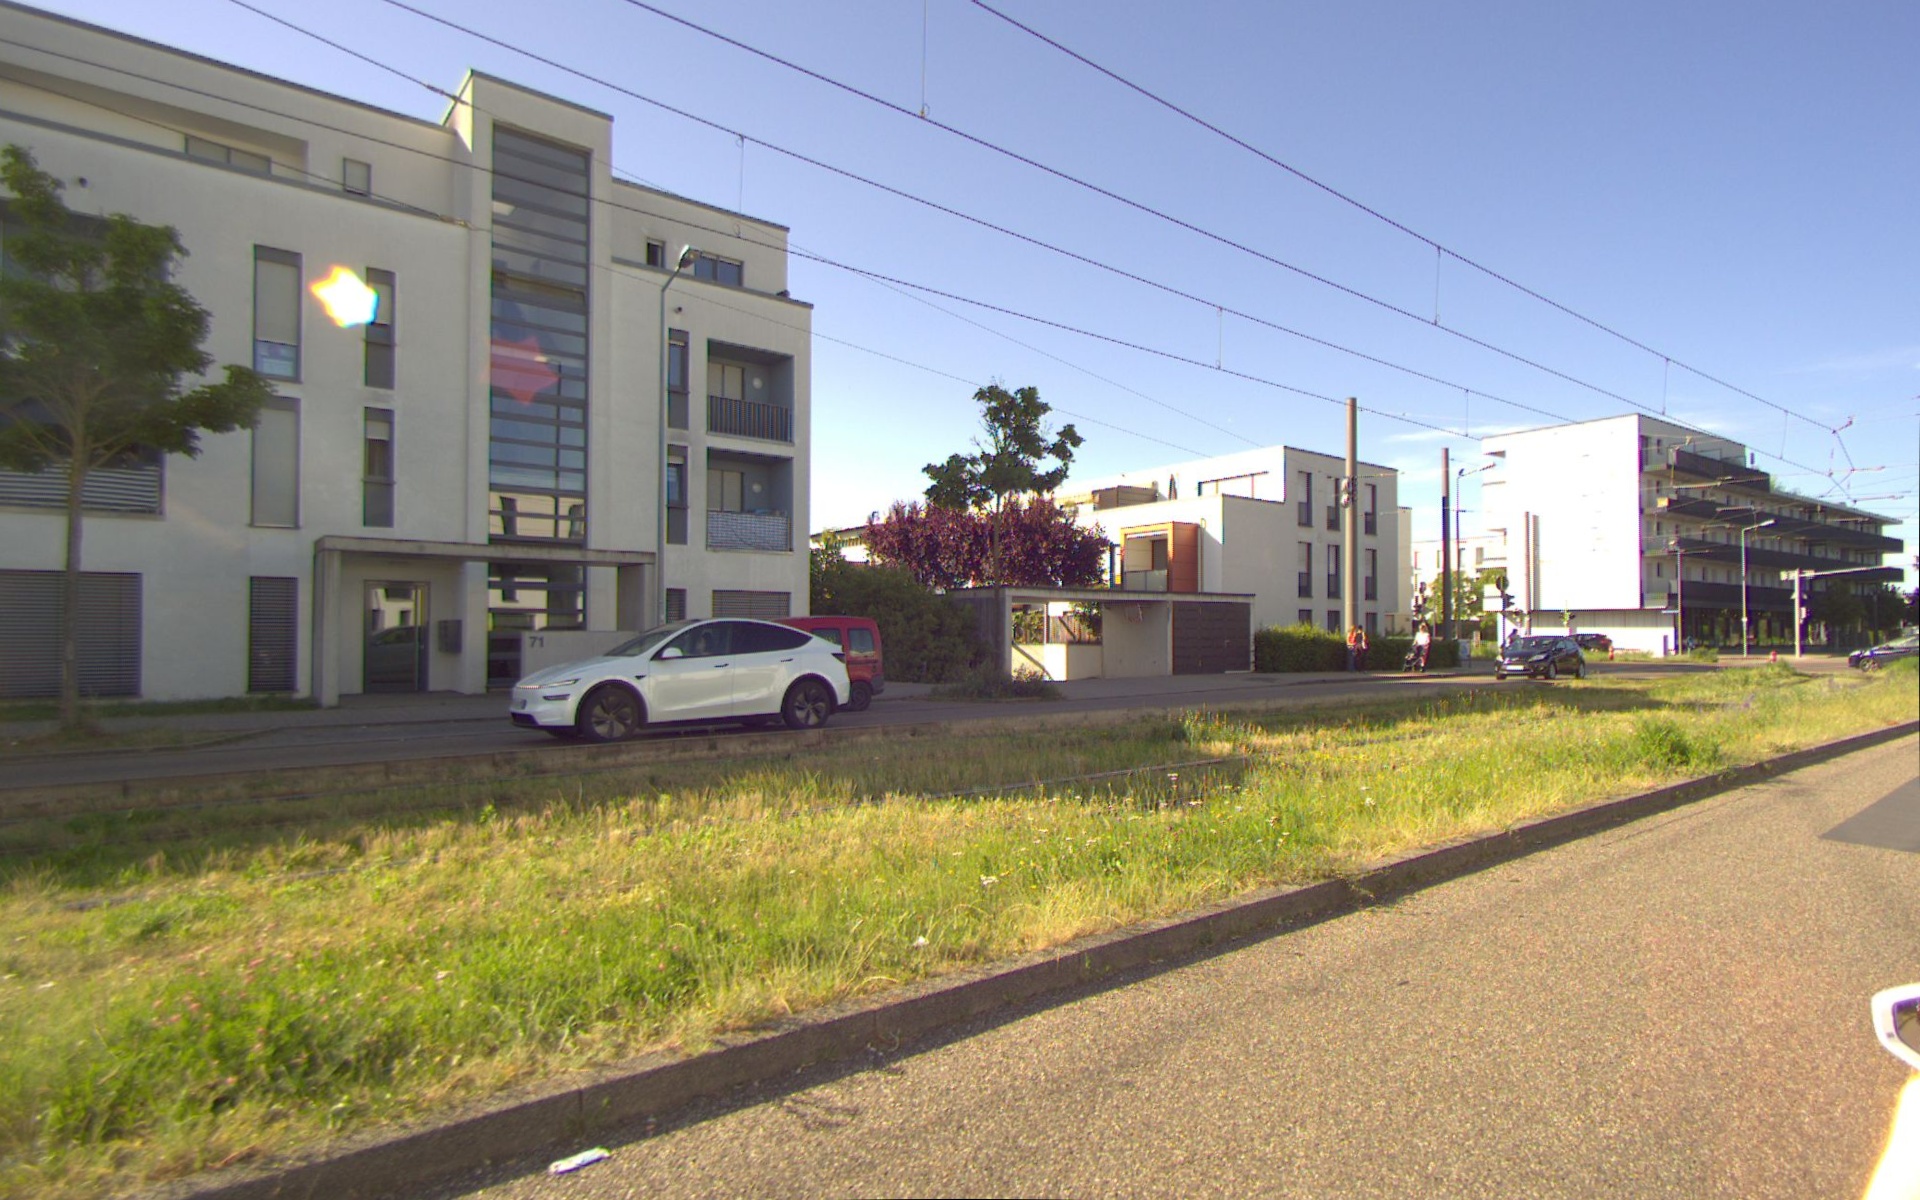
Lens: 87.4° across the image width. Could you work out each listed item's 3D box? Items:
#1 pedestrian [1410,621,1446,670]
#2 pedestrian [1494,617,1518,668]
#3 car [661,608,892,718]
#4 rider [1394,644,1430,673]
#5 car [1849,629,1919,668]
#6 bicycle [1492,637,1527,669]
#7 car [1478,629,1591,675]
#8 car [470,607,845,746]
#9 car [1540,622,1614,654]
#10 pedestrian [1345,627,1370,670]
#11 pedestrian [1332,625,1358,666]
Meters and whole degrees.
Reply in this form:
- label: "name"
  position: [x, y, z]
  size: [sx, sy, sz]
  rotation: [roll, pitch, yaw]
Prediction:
- label: "pedestrian"
  position: [17.443, 1.681, 37.422]
  size: [0.899, 1.771, 0.811]
  rotation: [1, 0, -31]
- label: "pedestrian"
  position: [22.732, 1.757, 41.806]
  size: [0.752, 2.040, 0.666]
  rotation: [2, 0, 39]
- label: "car"
  position: [-3.387, 1.100, 18.775]
  size: [3.802, 1.820, 1.867]
  rotation: [1, 0, -37]
- label: "rider"
  position: [16.604, 2.144, 36.898]
  size: [1.033, 1.016, 0.773]
  rotation: [1, 0, -32]
- label: "car"
  position: [35.802, 1.798, 37.488]
  size: [1.694, 1.449, 3.699]
  rotation: [1, -3, -39]
- label: "bicycle"
  position: [23.158, 2.222, 42.331]
  size: [0.784, 1.238, 2.690]
  rotation: [1, 0, 39]
- label: "car"
  position: [18.831, 1.674, 32.875]
  size: [3.963, 1.437, 1.775]
  rotation: [1, -3, -37]
- label: "car"
  position: [-4.074, 0.975, 13.955]
  size: [4.608, 1.617, 1.977]
  rotation: [1, -3, -40]
- label: "car"
  position: [40.682, 2.476, 66.361]
  size: [3.924, 2.040, 1.999]
  rotation: [-1, -2, 25]
- label: "pedestrian"
  position: [14.191, 1.725, 35.839]
  size: [0.606, 1.483, 0.553]
  rotation: [1, 0, -35]
- label: "pedestrian"
  position: [13.926, 1.639, 36.349]
  size: [0.735, 1.483, 0.553]
  rotation: [1, 0, -36]
